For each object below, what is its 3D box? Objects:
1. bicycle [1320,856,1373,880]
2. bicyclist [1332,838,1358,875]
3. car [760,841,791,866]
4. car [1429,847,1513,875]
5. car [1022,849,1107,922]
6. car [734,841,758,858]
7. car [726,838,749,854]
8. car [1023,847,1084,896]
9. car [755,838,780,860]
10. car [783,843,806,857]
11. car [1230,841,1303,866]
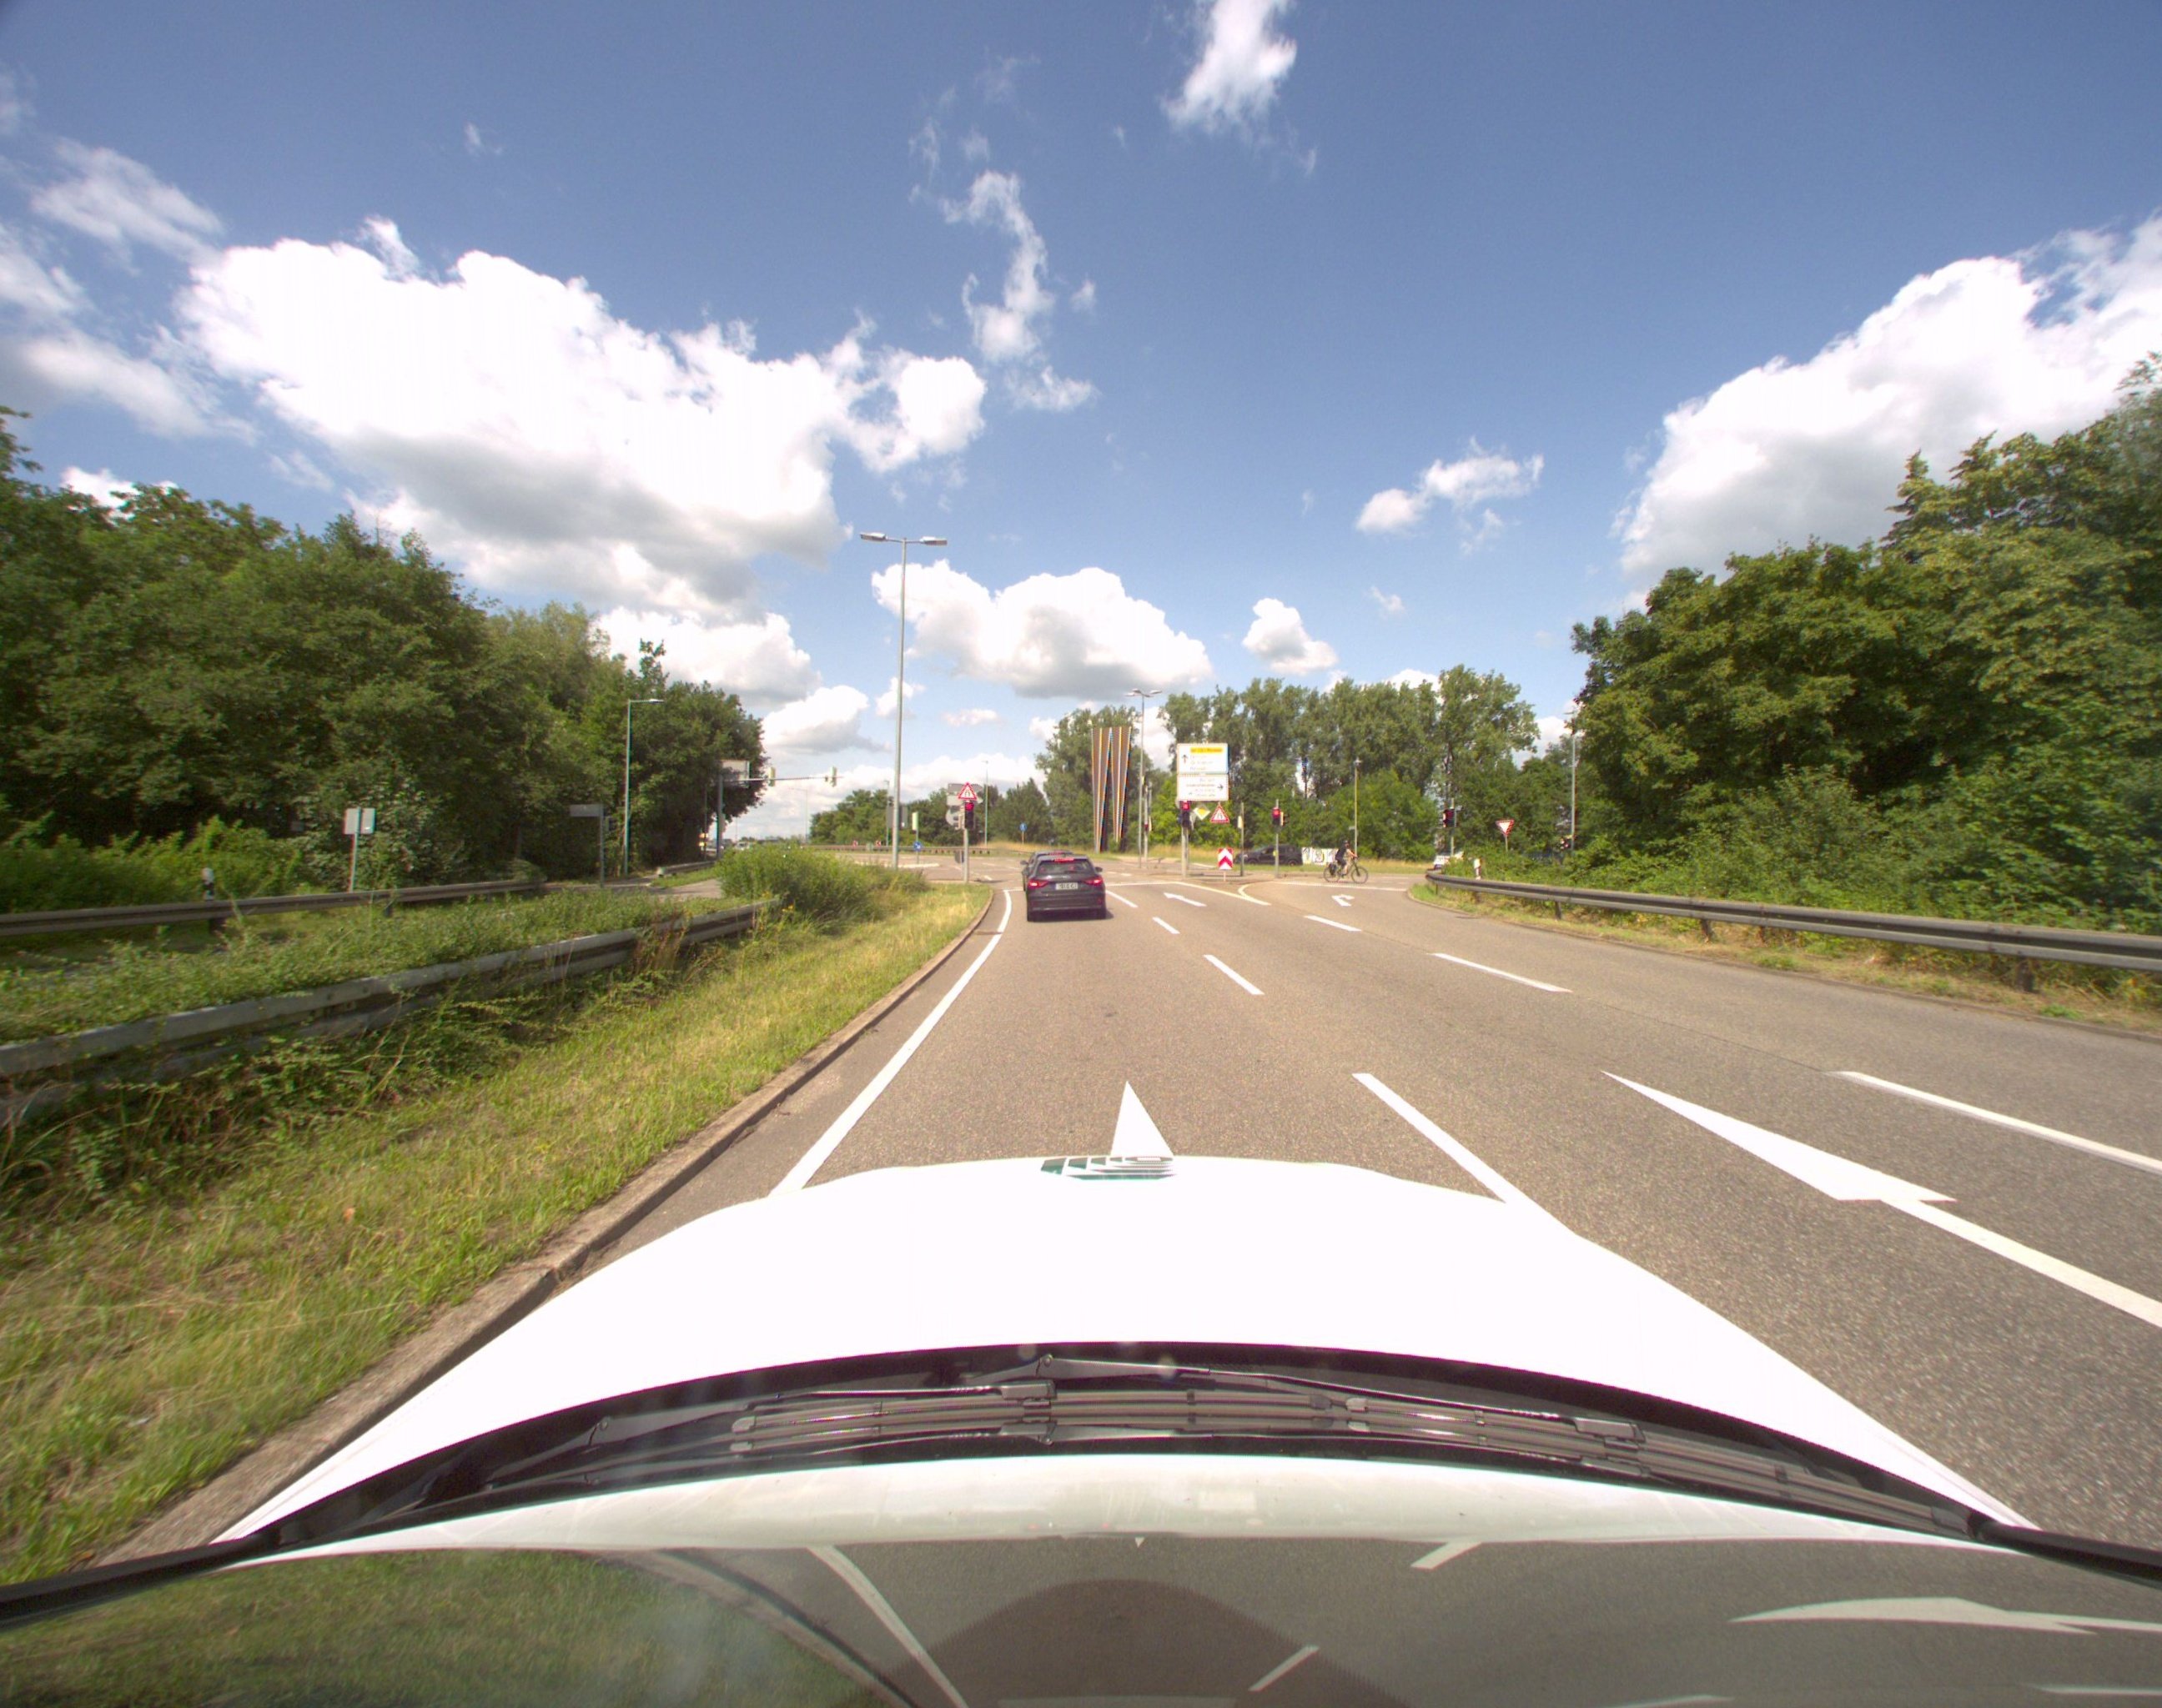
[{"bbox_3d":[11.127,0.578,34.138,2.054,1.023,0.669,0,0,-12],"label":"bicycle"},{"bbox_3d":[11.073,0.096,34.132,0.834,1.560,0.669,0,0,-12],"label":"bicyclist"},{"bbox_3d":[-21.295,-0.022,56.699,1.846,1.618,3.970,-1,-1,-23],"label":"car"},{"bbox_3d":[22.098,0.380,46.194,4.030,1.476,1.732,2,0,-8],"label":"car"},{"bbox_3d":[-0.415,0.644,18.867,1.722,1.404,3.997,-2,1,-2],"label":"car"},{"bbox_3d":[-34.610,-0.457,84.050,1.853,1.705,4.288,-1,1,-28],"label":"car"},{"bbox_3d":[-38.165,-0.907,90.474,1.855,1.705,4.284,-1,1,-31],"label":"car"},{"bbox_3d":[-0.991,0.533,27.143,1.724,1.423,3.837,-2,1,-6],"label":"car"},{"bbox_3d":[-27.088,-0.429,70.330,1.851,1.802,4.294,0,1,-23],"label":"car"},{"bbox_3d":[-29.279,-0.435,83.130,1.956,1.418,3.939,0,1,-24],"label":"car"},{"bbox_3d":[11.874,-0.022,52.337,4.258,1.545,1.735,0,0,-3],"label":"car"}]
